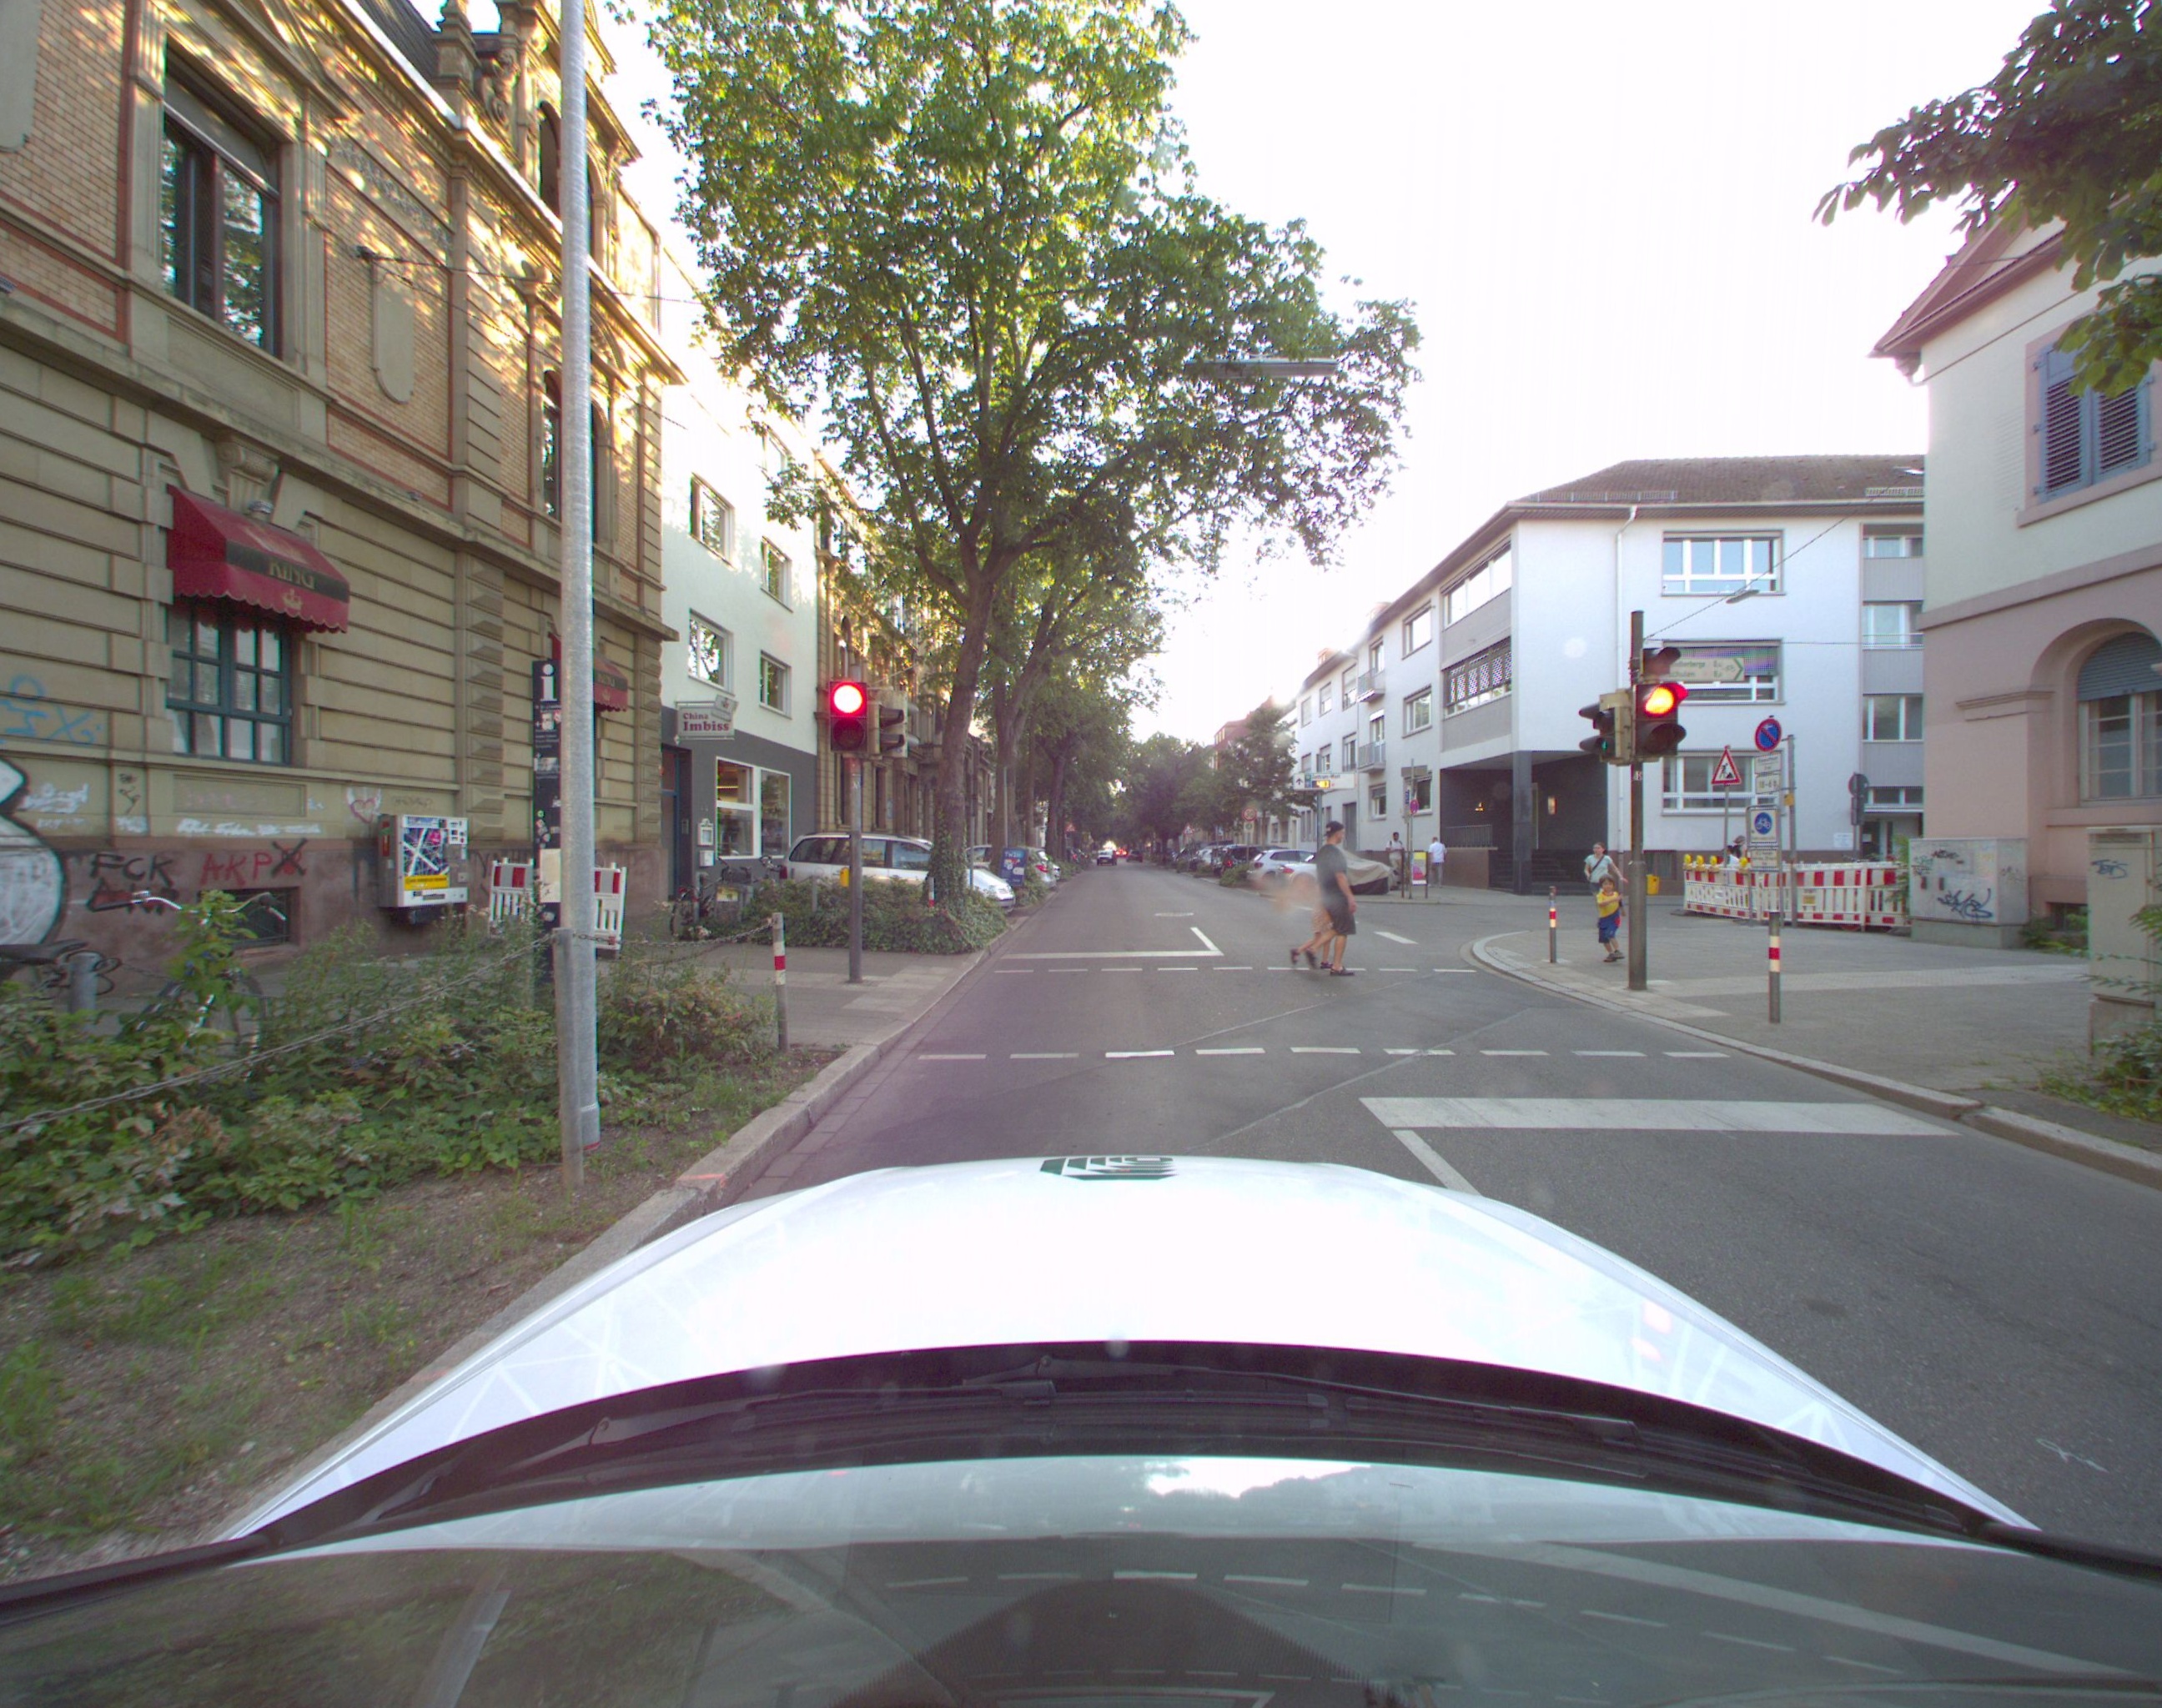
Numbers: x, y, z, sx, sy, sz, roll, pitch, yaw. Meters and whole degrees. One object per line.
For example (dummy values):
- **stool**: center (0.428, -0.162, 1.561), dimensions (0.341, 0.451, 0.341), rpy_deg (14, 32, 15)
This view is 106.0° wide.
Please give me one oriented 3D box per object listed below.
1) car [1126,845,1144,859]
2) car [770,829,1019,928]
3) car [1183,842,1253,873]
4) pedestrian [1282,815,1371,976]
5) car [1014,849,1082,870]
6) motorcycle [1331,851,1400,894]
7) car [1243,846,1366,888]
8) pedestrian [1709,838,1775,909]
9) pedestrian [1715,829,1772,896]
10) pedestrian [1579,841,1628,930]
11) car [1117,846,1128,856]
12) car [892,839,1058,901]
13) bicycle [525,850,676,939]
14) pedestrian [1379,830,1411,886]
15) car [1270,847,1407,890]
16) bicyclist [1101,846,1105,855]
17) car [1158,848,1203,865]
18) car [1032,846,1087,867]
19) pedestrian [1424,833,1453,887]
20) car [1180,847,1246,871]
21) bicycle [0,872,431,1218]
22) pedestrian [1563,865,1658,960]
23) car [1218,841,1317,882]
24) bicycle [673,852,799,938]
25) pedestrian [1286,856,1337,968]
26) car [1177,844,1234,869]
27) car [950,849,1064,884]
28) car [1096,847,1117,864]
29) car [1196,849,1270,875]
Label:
- **car**: center (6.168, -0.240, 93.849), dimensions (1.819, 1.561, 4.028), rpy_deg (1, 0, 1)
- **car**: center (-3.579, 0.453, 16.300), dimensions (4.534, 1.835, 1.832), rpy_deg (-1, 0, -1)
- **car**: center (8.282, 0.209, 49.428), dimensions (3.999, 1.815, 1.707), rpy_deg (-1, 0, 1)
- **pedestrian**: center (2.882, 0.466, 9.630), dimensions (0.883, 1.815, 0.795), rpy_deg (0, 0, 6)
- **car**: center (-2.246, 0.360, 56.653), dimensions (4.530, 1.410, 1.834), rpy_deg (-1, 0, 2)
- **motorcycle**: center (8.210, 0.526, 23.556), dimensions (1.788, 1.199, 0.615), rpy_deg (-1, 0, 10)
- **car**: center (7.989, 0.446, 29.416), dimensions (3.999, 1.442, 1.707), rpy_deg (-1, 0, 1)
- **pedestrian**: center (14.470, 0.421, 17.841), dimensions (0.799, 1.501, 0.773), rpy_deg (-1, 0, -12)
- **pedestrian**: center (17.700, 0.225, 21.783), dimensions (0.765, 1.751, 0.934), rpy_deg (0, 1, 2)
- **pedestrian**: center (9.521, 0.543, 14.865), dimensions (0.692, 1.557, 0.986), rpy_deg (0, 1, 29)
- **car**: center (7.457, -0.553, 147.784), dimensions (1.917, 1.660, 4.002), rpy_deg (0, 0, 2)
- **car**: center (-3.010, 0.440, 23.842), dimensions (4.530, 1.688, 1.834), rpy_deg (-1, 0, 2)
- **bicycle**: center (-7.196, 0.546, 12.400), dimensions (0.634, 1.201, 2.566), rpy_deg (-1, 0, 4)
- **pedestrian**: center (10.586, 0.135, 27.470), dimensions (0.764, 1.841, 0.944), rpy_deg (0, 1, 2)
- **car**: center (8.399, 0.460, 26.784), dimensions (3.998, 1.342, 1.708), rpy_deg (-1, 0, 2)
- **bicyclist**: center (3.359, -0.520, 123.607), dimensions (0.570, 1.470, 0.642), rpy_deg (0, -1, -4)
- **car**: center (9.069, 0.219, 74.561), dimensions (3.999, 1.601, 1.707), rpy_deg (0, 0, 1)
- **car**: center (-1.799, 0.199, 68.998), dimensions (4.530, 1.691, 1.834), rpy_deg (0, 0, 2)
- **pedestrian**: center (11.775, 0.198, 26.845), dimensions (0.700, 1.751, 0.701), rpy_deg (0, 1, 6)
- **car**: center (8.437, 0.322, 52.258), dimensions (3.999, 1.530, 1.707), rpy_deg (0, 0, 1)
- **bicycle**: center (-4.056, 0.701, 3.657), dimensions (0.508, 1.153, 2.102), rpy_deg (1, 1, 2)
- **pedestrian**: center (6.591, 0.714, 10.174), dimensions (0.830, 1.121, 0.568), rpy_deg (0, 1, 7)
- **car**: center (8.152, 0.313, 35.844), dimensions (3.999, 1.690, 1.707), rpy_deg (-1, 0, 1)
- **bicycle**: center (-5.348, 0.575, 12.865), dimensions (0.731, 1.186, 2.636), rpy_deg (1, 0, 3)
- **pedestrian**: center (2.864, 0.704, 10.148), dimensions (0.536, 1.335, 0.507), rpy_deg (0, 0, 7)
- **car**: center (9.090, 0.165, 59.557), dimensions (3.999, 1.830, 1.707), rpy_deg (0, 0, 1)
- **car**: center (-3.046, 0.494, 34.141), dimensions (4.530, 1.372, 1.834), rpy_deg (-1, 0, 2)
- **car**: center (2.508, 0.176, 79.188), dimensions (1.895, 1.577, 3.996), rpy_deg (1, 0, 4)
- **car**: center (8.725, 0.472, 47.054), dimensions (3.999, 1.409, 1.707), rpy_deg (-1, 0, 1)
